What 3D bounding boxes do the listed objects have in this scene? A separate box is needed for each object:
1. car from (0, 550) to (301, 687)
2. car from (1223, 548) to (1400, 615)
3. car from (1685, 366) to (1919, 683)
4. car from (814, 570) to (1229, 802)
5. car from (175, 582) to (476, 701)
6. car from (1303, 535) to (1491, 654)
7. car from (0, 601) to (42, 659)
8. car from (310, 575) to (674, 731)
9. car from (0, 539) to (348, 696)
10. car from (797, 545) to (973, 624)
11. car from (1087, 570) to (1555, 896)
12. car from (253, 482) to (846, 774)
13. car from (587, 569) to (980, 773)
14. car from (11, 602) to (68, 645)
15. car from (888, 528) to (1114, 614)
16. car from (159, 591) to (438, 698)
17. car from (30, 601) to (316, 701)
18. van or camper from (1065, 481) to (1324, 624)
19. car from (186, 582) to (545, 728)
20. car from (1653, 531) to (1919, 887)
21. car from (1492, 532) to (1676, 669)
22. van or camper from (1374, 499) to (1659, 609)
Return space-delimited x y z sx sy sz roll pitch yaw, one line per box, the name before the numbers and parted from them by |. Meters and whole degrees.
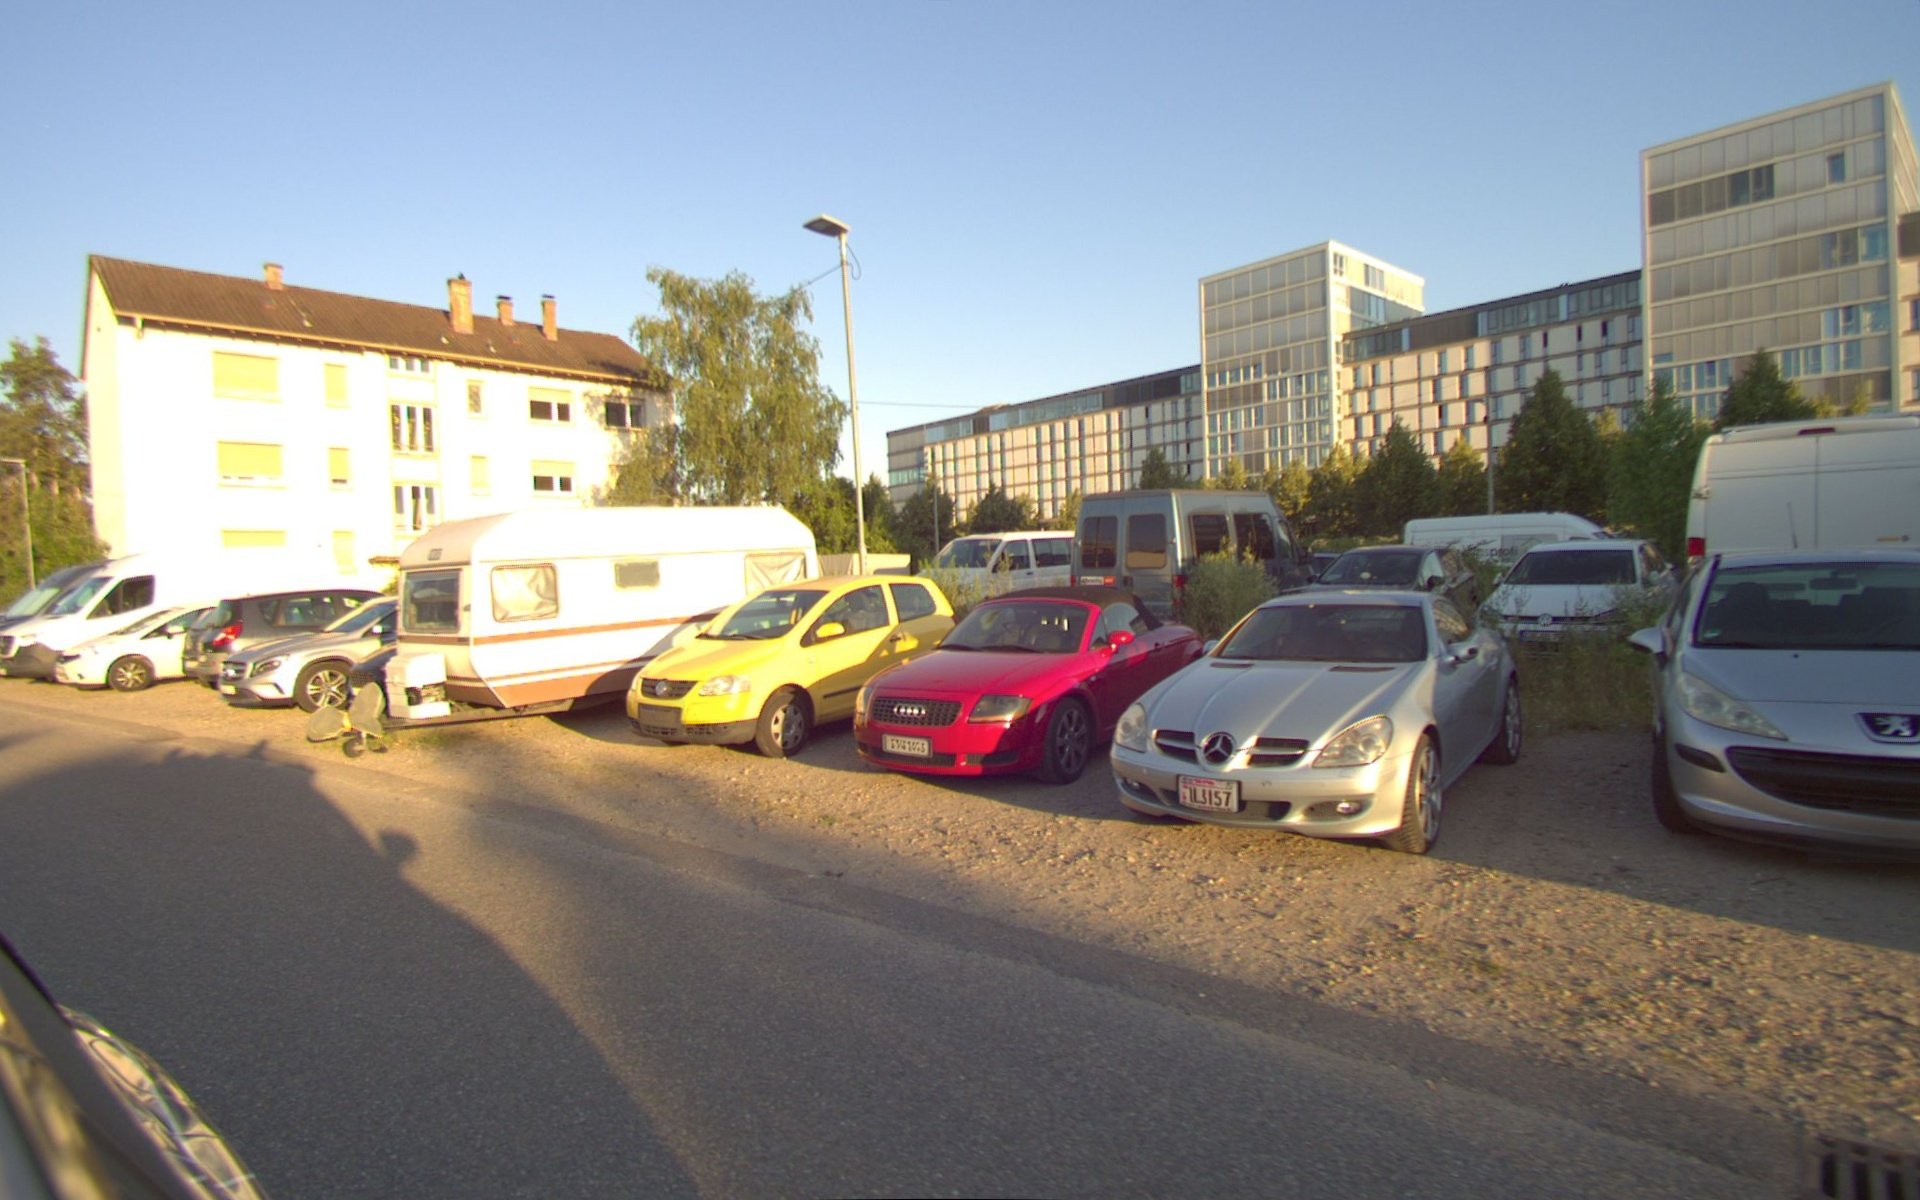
car | -19.619 0.275 24.018 2.104 2.732 6.349 -1 3 28
car | 8.462 -0.418 24.552 3.685 1.472 1.685 -2 0 44
car | 9.991 -0.801 11.127 6.171 2.693 2.224 -4 2 -45
car | 0.718 0.530 8.473 1.702 1.377 3.693 -2 2 36
car | -10.418 0.597 16.811 1.748 1.602 3.883 -1 2 43
car | 6.384 -0.141 14.588 1.690 1.487 3.572 -2 2 36
car | -29.536 1.002 29.430 1.745 1.664 3.889 -2 3 38
car | -6.175 0.579 13.776 1.746 1.602 4.088 -1 3 38
car | -16.458 0.207 21.209 2.045 2.733 5.781 -2 3 33
car | -1.550 -0.364 21.698 1.665 1.487 3.567 -1 2 42
car | 2.549 0.568 6.516 1.691 1.338 3.772 -2 2 38
car | -4.375 0.098 11.815 2.410 2.552 5.828 -3 2 41
car | -1.563 0.539 10.005 1.702 1.530 3.596 -2 2 37
car | -52.658 1.346 57.869 4.819 2.165 1.824 -5 -1 41
car | 0.897 -0.599 20.132 4.315 1.487 1.984 -4 2 -43
car | -11.995 0.709 18.577 1.744 1.602 3.892 0 2 35
car | -14.728 0.865 19.136 1.786 1.518 3.891 -1 2 36
van or camper | 3.757 -0.731 15.708 1.933 1.905 4.289 -1 2 44
car | -8.432 0.659 14.703 1.745 1.602 4.090 -1 3 36
car | 5.021 0.383 5.775 1.689 1.487 3.574 -2 2 35
car | 8.065 -0.072 12.945 1.690 1.487 3.572 -2 2 36
van or camper | 15.348 -1.191 28.304 6.643 2.710 1.992 -1 3 45
